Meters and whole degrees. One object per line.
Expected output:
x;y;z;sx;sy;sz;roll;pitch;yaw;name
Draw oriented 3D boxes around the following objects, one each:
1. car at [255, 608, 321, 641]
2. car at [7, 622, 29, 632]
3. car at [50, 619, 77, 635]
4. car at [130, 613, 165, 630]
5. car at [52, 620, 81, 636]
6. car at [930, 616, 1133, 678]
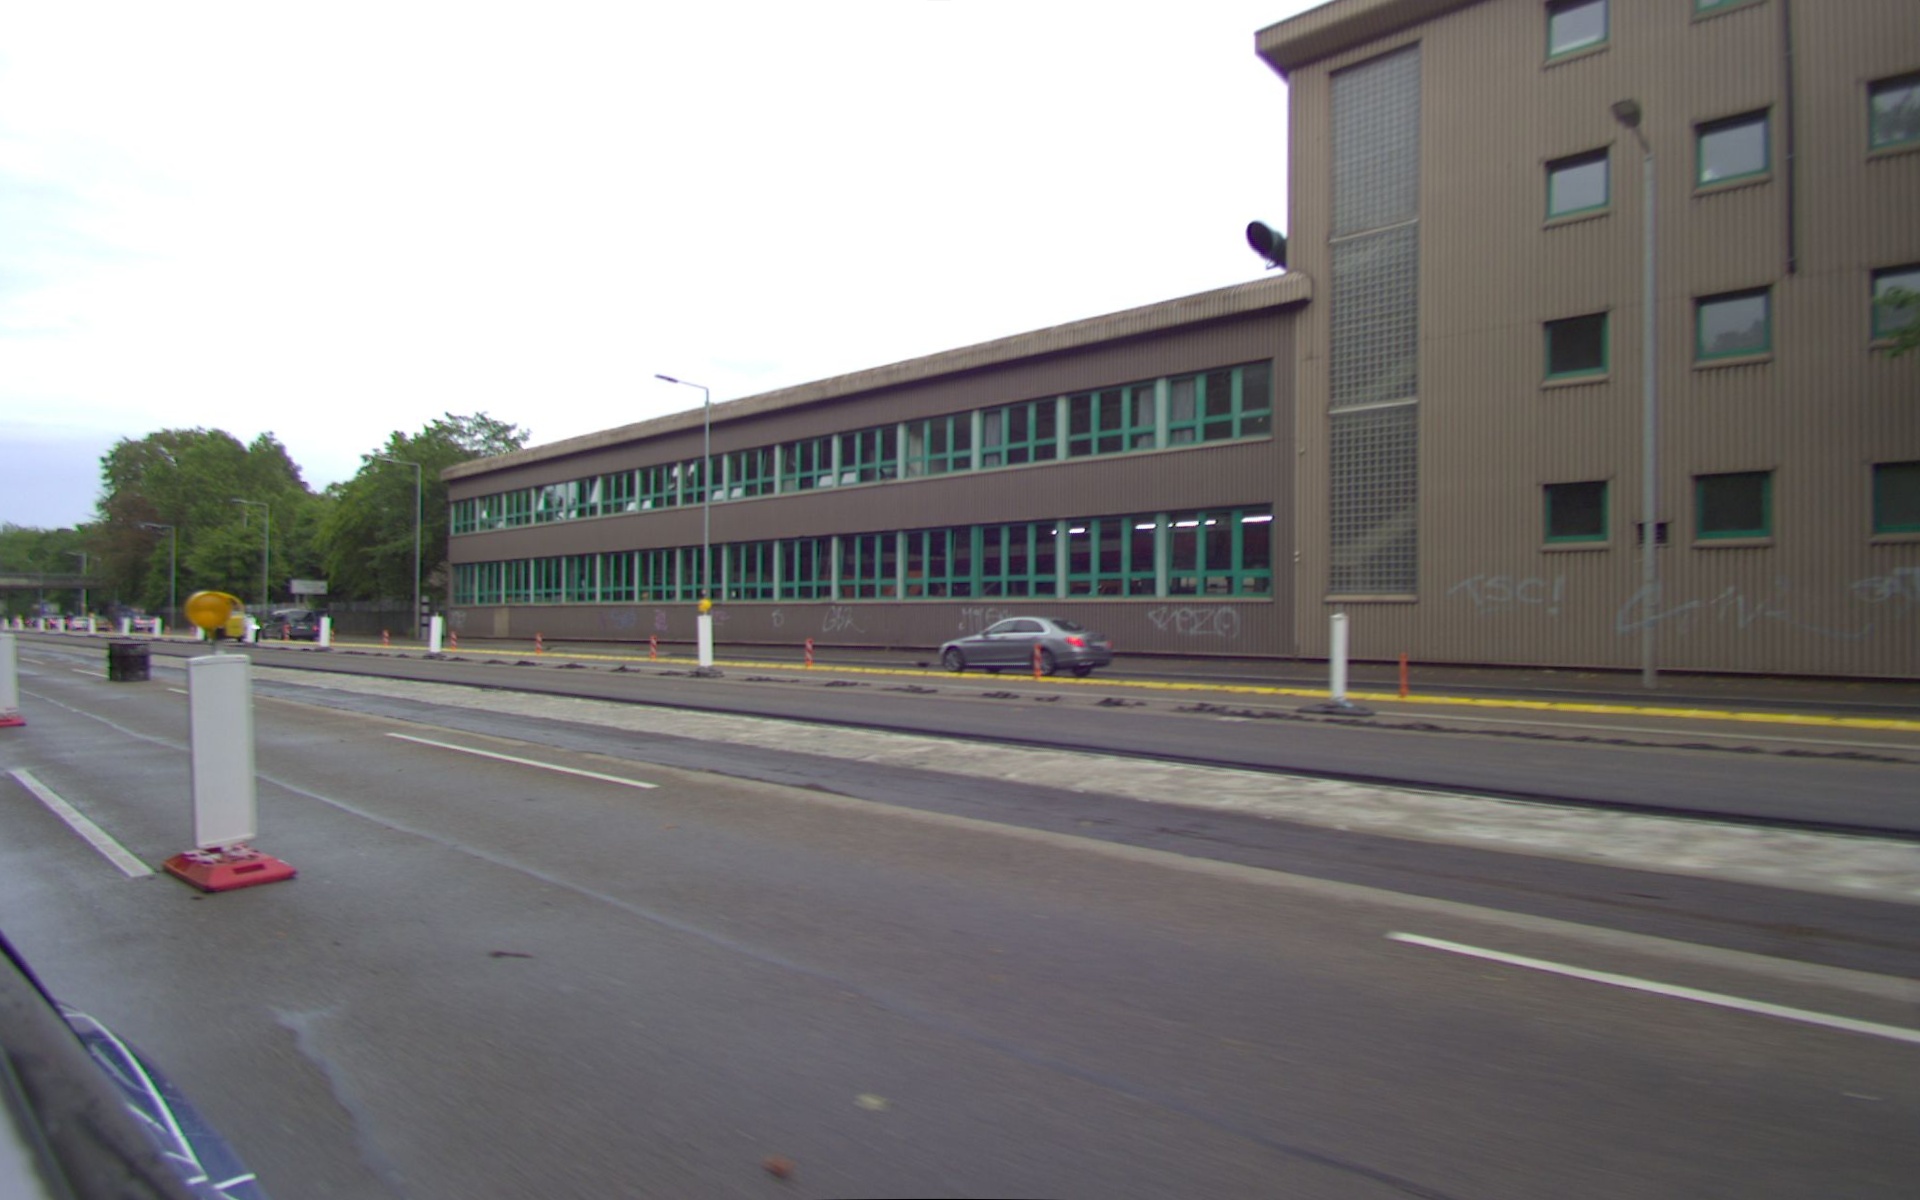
-38.730;1.392;58.278;4.953;1.794;1.972;-1;0;42;car
-141.501;4.042;152.046;4.262;1.440;1.973;-1;-1;40;car
-103.283;3.109;116.584;4.674;1.781;1.967;-1;0;43;car
-79.676;2.099;99.208;4.177;1.598;1.973;-1;0;41;car
-92.340;2.877;104.583;3.990;1.546;1.785;-1;0;41;car
1.680;1.096;24.995;4.789;1.358;1.972;-1;0;42;car
